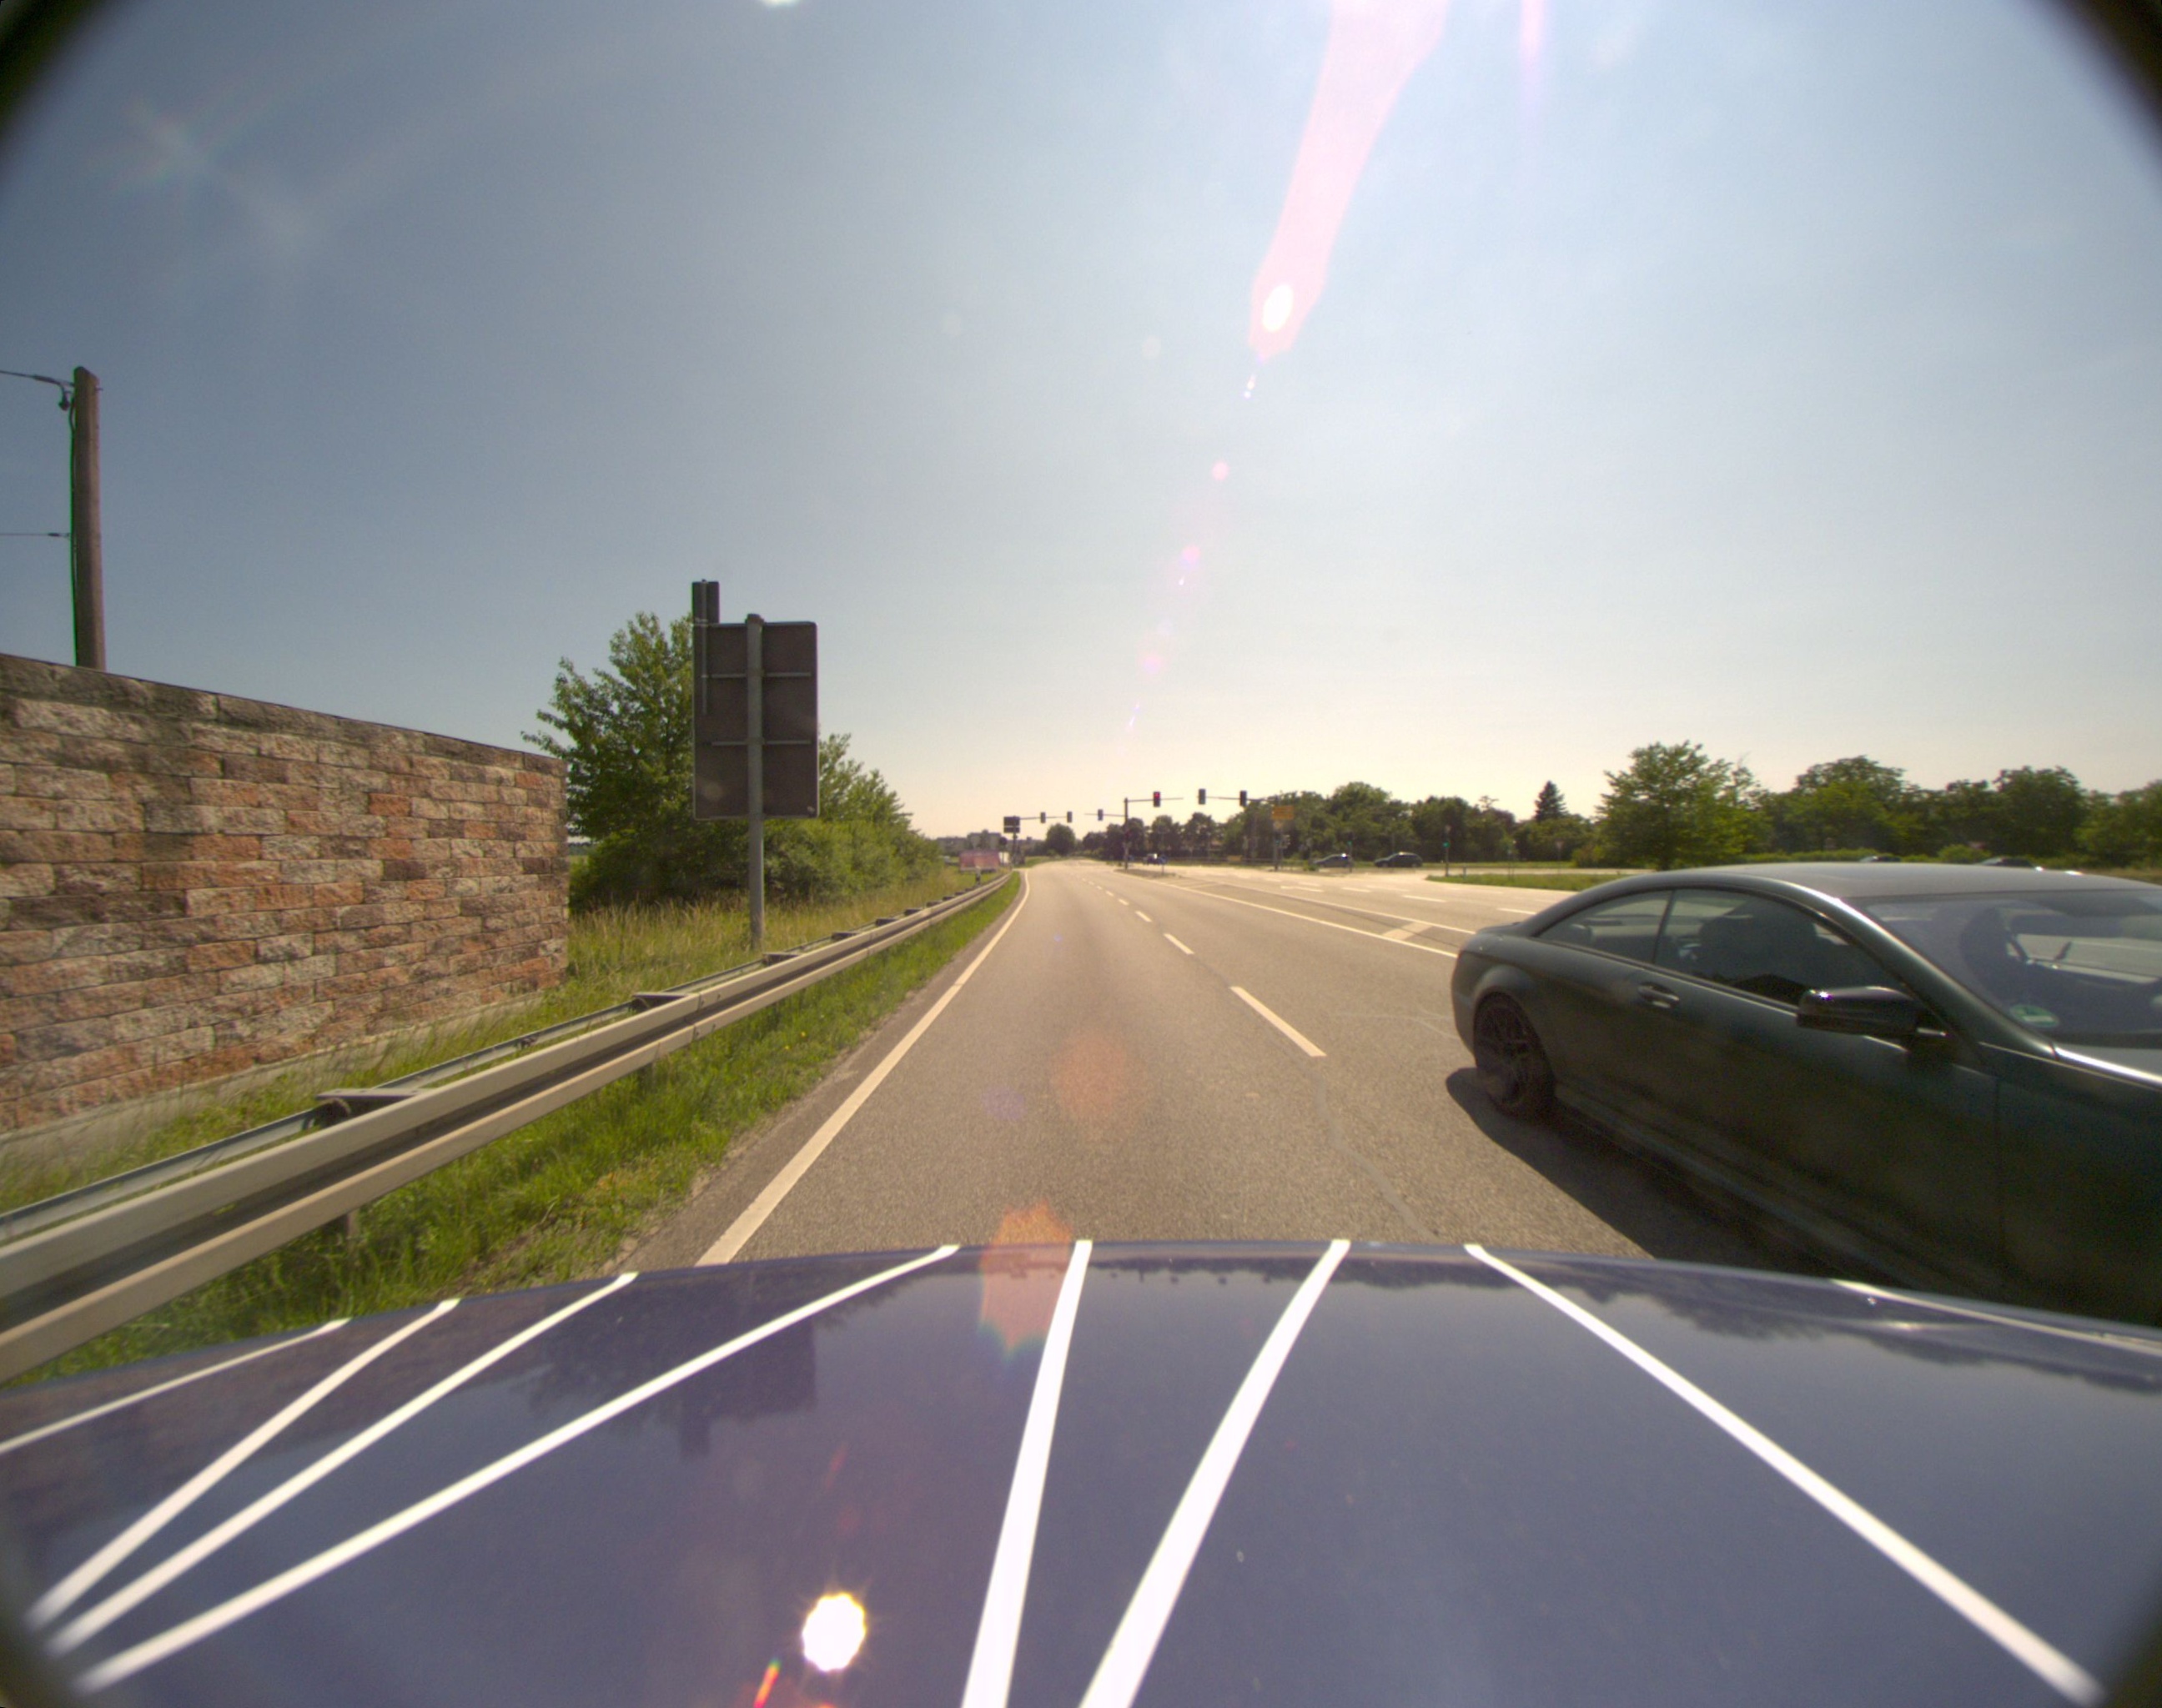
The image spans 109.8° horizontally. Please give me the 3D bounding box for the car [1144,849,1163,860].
[{"bbox_3d":[10.162,0.061,106.181,1.836,1.591,4.302,0,1,-6],"label":"car"}]

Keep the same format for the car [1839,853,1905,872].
[{"bbox_3d":[72.441,0.784,69.609,3.995,1.565,1.738,-2,1,6],"label":"car"}]

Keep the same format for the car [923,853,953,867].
[{"bbox_3d":[-16.729,0.687,89.071,3.347,1.491,1.399,-1,1,-8],"label":"car"}]

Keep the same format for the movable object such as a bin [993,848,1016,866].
[{"bbox_3d":[-10.909,0.408,108.546,1.523,2.349,4.429,-1,1,17],"label":"movable object such as a bin"}]

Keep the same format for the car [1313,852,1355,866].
[{"bbox_3d":[26.143,0.548,78.619,3.874,1.379,1.636,0,0,12],"label":"car"}]

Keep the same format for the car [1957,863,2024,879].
[{"bbox_3d":[84.031,1.534,70.261,3.767,1.379,1.501,1,0,14],"label":"car"}]

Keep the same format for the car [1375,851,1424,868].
[{"bbox_3d":[32.267,0.558,77.152,4.361,1.585,1.637,1,1,14],"label":"car"}]

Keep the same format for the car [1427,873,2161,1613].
[{"bbox_3d":[3.199,0.877,2.560,1.815,1.441,4.876,-2,0,0],"label":"car"}]

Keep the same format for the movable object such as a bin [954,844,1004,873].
[{"bbox_3d":[-8.571,0.372,64.221,4.106,2.318,1.276,-2,1,-6],"label":"movable object such as a bin"}]
